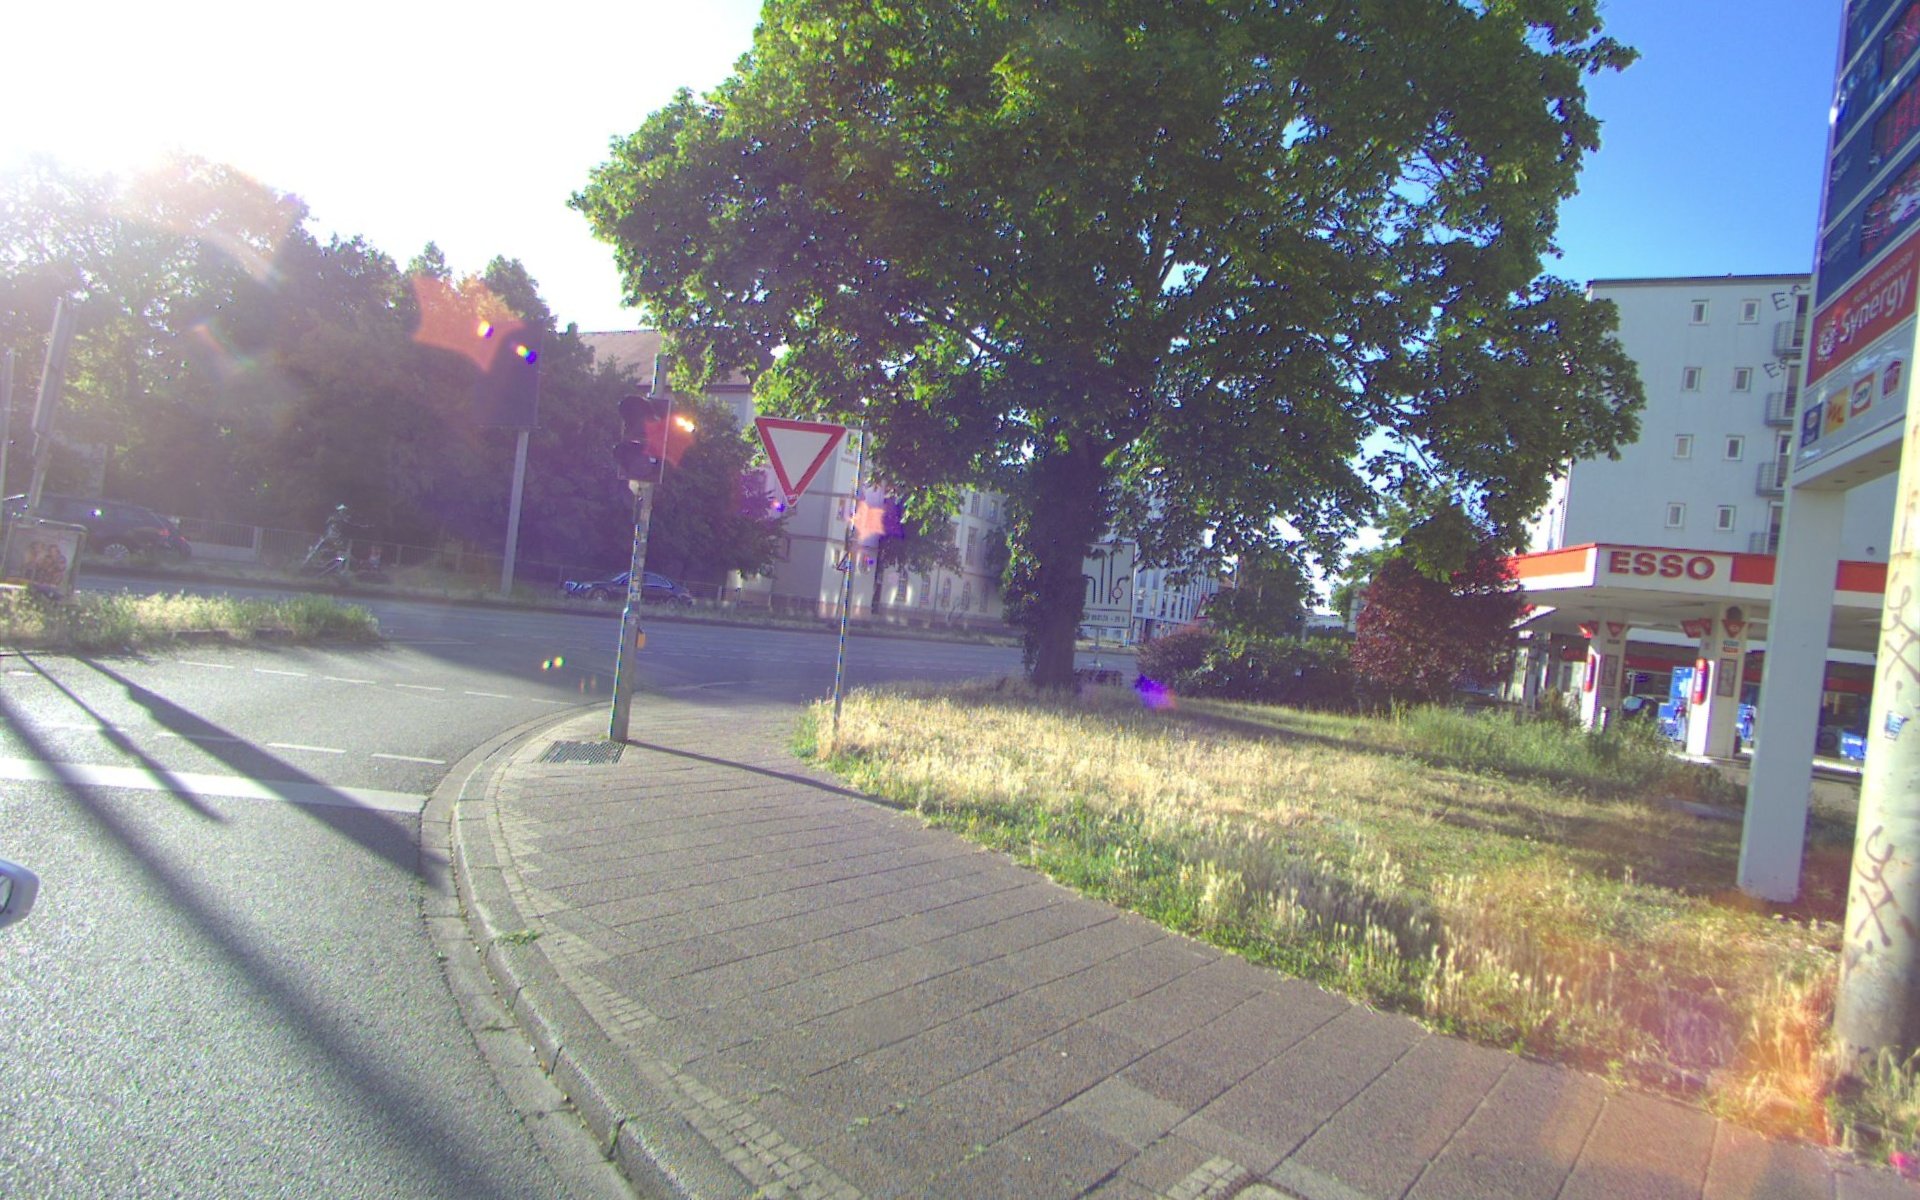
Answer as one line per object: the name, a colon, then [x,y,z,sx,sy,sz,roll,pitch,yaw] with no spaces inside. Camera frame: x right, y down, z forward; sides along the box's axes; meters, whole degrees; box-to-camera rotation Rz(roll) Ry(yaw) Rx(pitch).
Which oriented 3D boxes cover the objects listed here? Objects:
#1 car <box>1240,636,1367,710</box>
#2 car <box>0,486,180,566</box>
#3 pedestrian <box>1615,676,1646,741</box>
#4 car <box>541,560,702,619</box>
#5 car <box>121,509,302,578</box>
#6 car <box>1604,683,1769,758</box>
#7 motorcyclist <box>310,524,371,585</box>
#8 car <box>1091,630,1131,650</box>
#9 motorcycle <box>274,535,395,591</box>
car: [9.094,1.955,26.478,1.679,1.593,3.982,6,-1,41]
car: [-19.887,-1.685,21.873,1.701,1.312,4.353,6,-1,43]
pedestrian: [18.557,3.008,27.862,0.413,1.726,0.420,6,0,9]
car: [-12.257,-0.328,36.759,1.970,1.514,5.274,6,-1,37]
car: [-22.788,-1.681,30.752,1.831,1.482,3.987,7,0,37]
car: [19.992,3.273,27.910,1.962,1.371,4.000,7,1,9]
motorcyclist: [-16.057,-1.183,26.075,0.843,1.415,1.056,7,0,44]
car: [17.957,4.741,119.657,4.311,1.854,2.001,7,0,18]
motorcycle: [-16.135,-0.942,26.017,0.850,1.121,2.457,7,-1,43]
